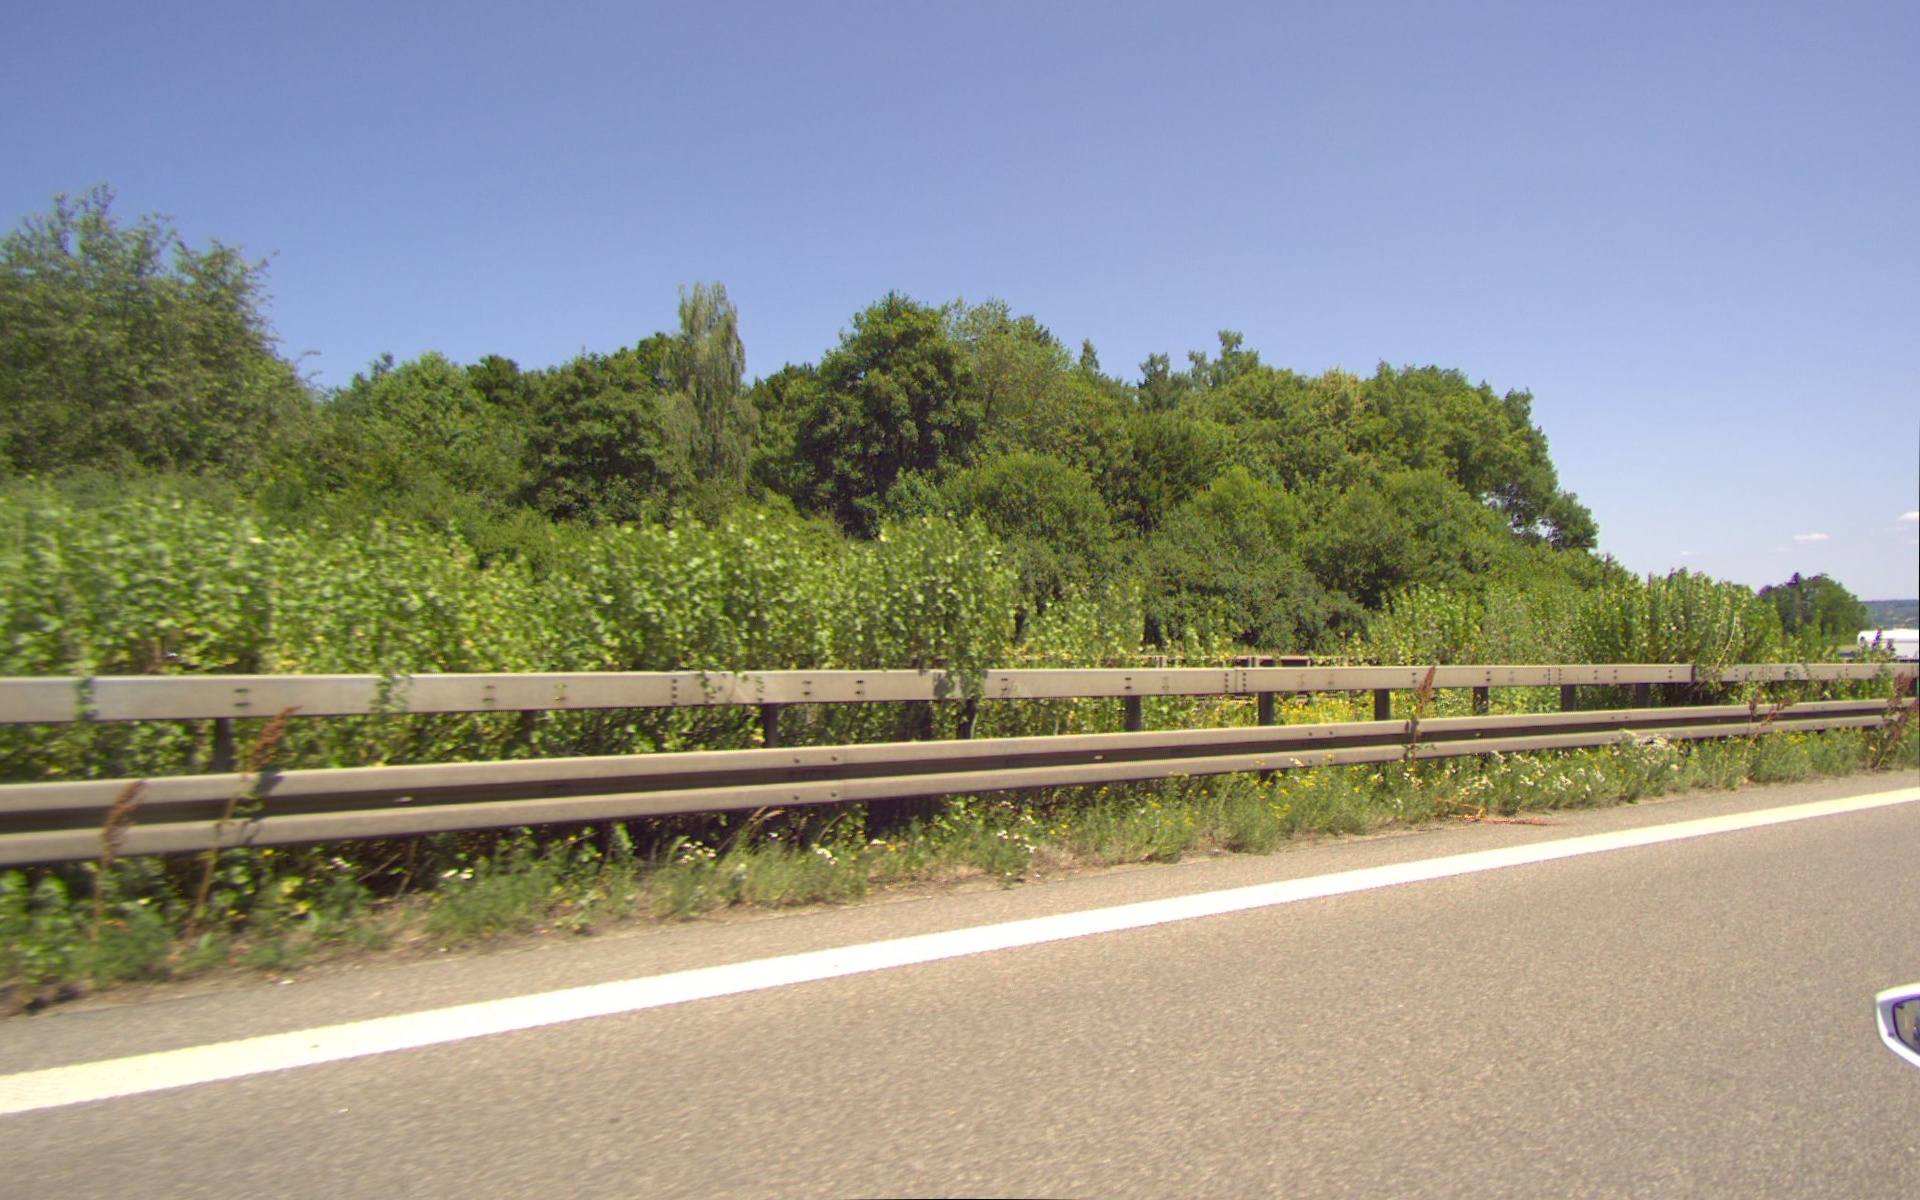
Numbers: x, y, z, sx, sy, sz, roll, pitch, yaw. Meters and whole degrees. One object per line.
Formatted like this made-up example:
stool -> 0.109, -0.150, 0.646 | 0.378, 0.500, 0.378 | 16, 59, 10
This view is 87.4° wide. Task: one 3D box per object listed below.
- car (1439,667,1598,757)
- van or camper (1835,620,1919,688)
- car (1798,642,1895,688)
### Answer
car -> 14.598, 2.841, 26.229 | 3.953, 2.040, 1.893 | 1, 0, -30
van or camper -> 43.590, 2.423, 46.457 | 7.600, 2.904, 2.310 | 1, 0, -30
car -> 38.369, 2.772, 43.444 | 4.589, 1.795, 1.786 | 1, 0, -30
